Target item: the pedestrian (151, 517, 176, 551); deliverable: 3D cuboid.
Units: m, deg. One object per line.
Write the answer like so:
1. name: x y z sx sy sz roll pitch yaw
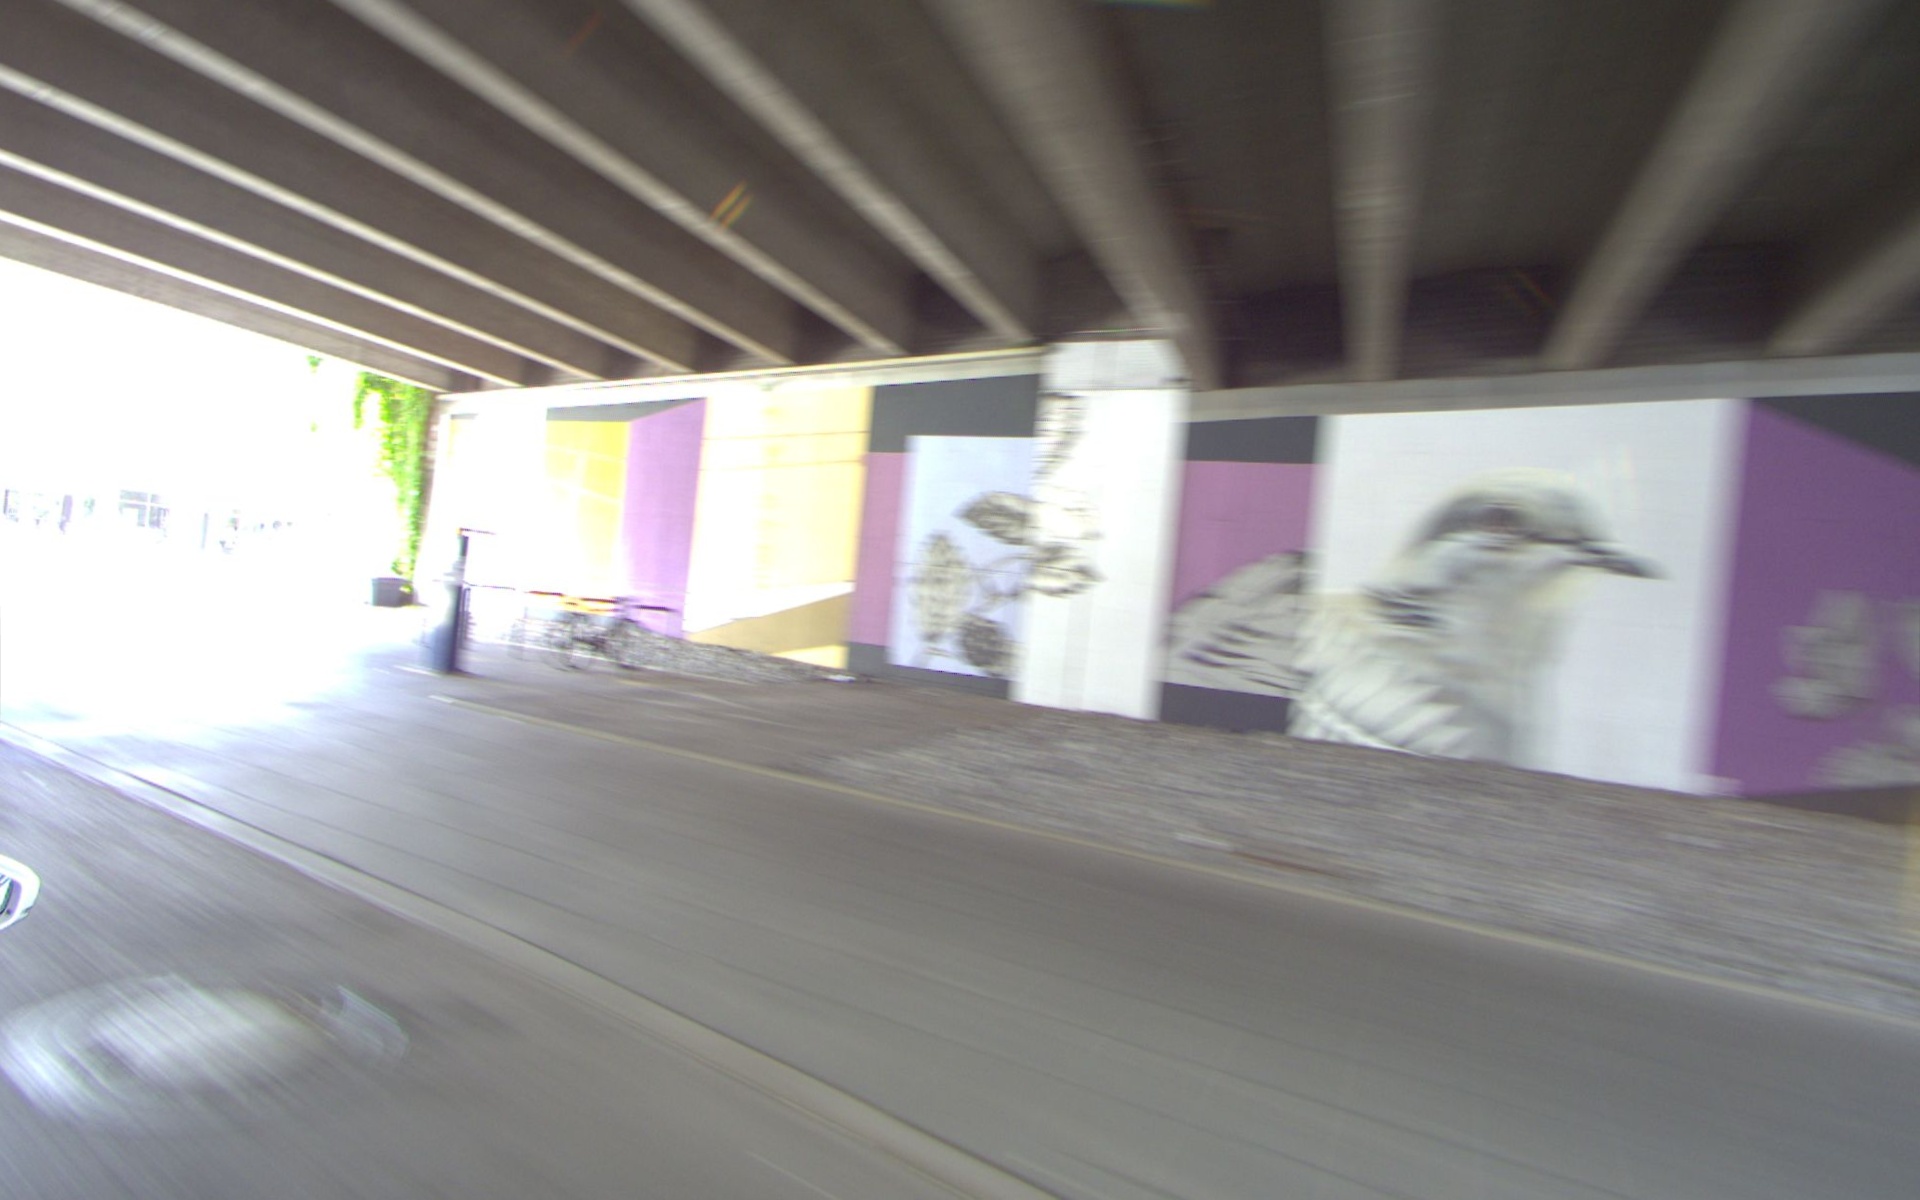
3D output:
1. pedestrian: -43.158 -3.580 54.494 0.606 1.695 0.698 7 0 18

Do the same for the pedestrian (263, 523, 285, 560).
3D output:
1. pedestrian: -35.604 -3.021 52.187 0.685 1.844 0.616 7 4 24

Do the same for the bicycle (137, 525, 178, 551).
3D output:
1. bicycle: -43.204 -3.319 54.180 1.525 1.181 0.493 8 -2 -28

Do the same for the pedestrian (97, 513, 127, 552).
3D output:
1. pedestrian: -39.811 -3.168 47.227 0.605 1.695 0.698 7 0 6

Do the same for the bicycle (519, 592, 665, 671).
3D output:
1. bicycle: -4.773 0.424 13.206 0.498 0.916 1.949 6 0 25
